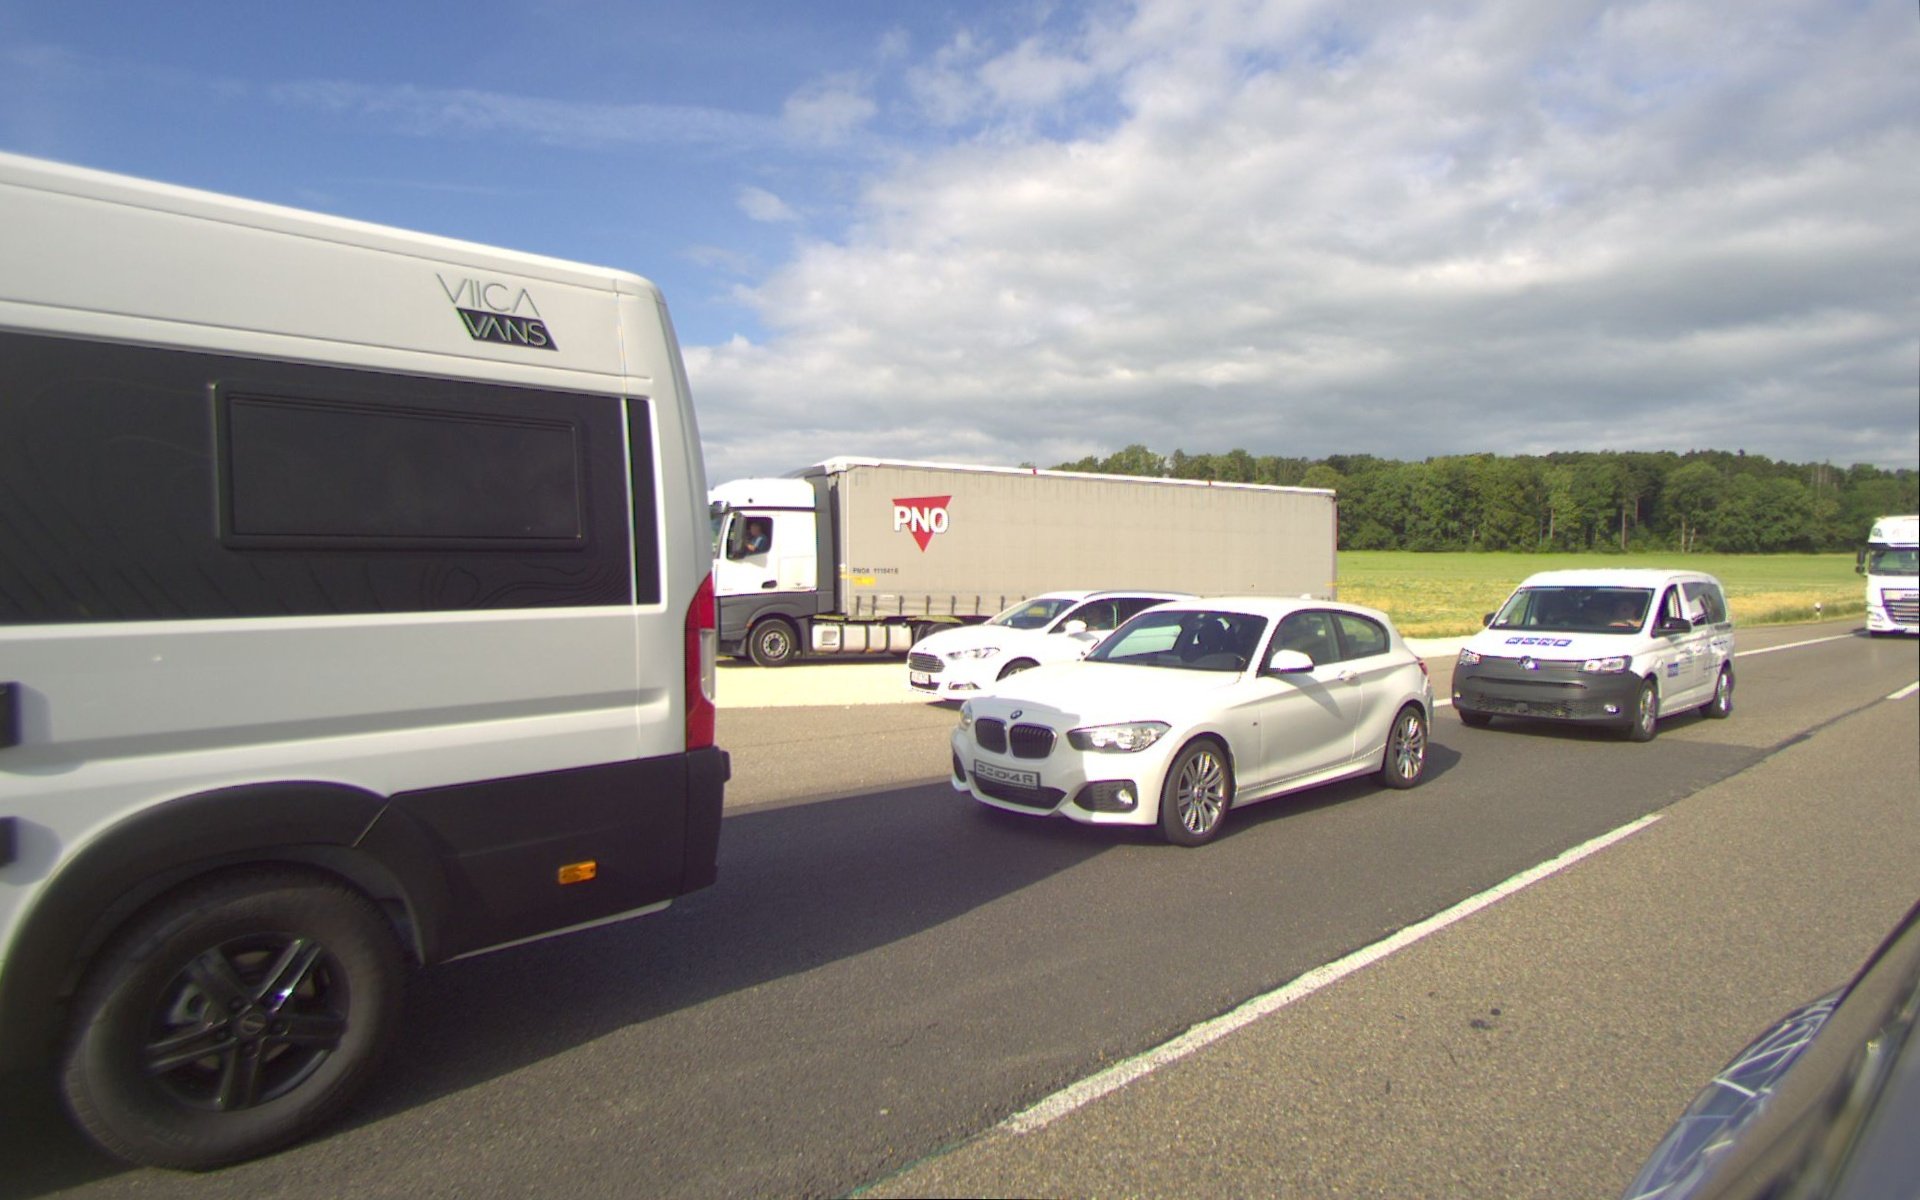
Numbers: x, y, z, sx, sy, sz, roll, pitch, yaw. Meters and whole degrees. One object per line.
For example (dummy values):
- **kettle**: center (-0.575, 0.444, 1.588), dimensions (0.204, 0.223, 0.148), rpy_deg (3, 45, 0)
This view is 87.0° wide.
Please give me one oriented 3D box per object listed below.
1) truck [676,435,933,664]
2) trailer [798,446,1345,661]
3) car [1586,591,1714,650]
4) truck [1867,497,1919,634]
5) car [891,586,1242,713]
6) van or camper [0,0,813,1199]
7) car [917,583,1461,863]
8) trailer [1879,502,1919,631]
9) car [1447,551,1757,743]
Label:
- **truck**: center (-3.251, -0.937, 20.943), dimensions (4.662, 4.226, 2.727), rpy_deg (0, 0, -26)
- **trailer**: center (3.119, -0.929, 24.040), dimensions (13.543, 4.213, 2.748), rpy_deg (0, 0, -26)
- **car**: center (17.366, 0.470, 25.392), dimensions (4.111, 1.370, 1.706), rpy_deg (0, -1, -42)
- **truck**: center (31.947, -1.116, 33.082), dimensions (5.667, 4.226, 2.733), rpy_deg (-1, 1, -41)
- **car**: center (1.505, 0.550, 13.614), dimensions (4.539, 1.450, 1.873), rpy_deg (0, 0, -32)
- **van or camper**: center (-3.563, 0.004, 2.256), dimensions (6.222, 2.714, 2.219), rpy_deg (0, 1, -41)
- **car**: center (1.837, 0.616, 7.264), dimensions (4.158, 1.450, 1.706), rpy_deg (0, 0, -41)
- **trailer**: center (36.654, -1.227, 37.219), dimensions (13.777, 4.212, 2.739), rpy_deg (-1, 1, -41)
- **car**: center (7.482, 0.423, 11.590), dimensions (4.620, 1.779, 1.727), rpy_deg (0, 0, -41)
